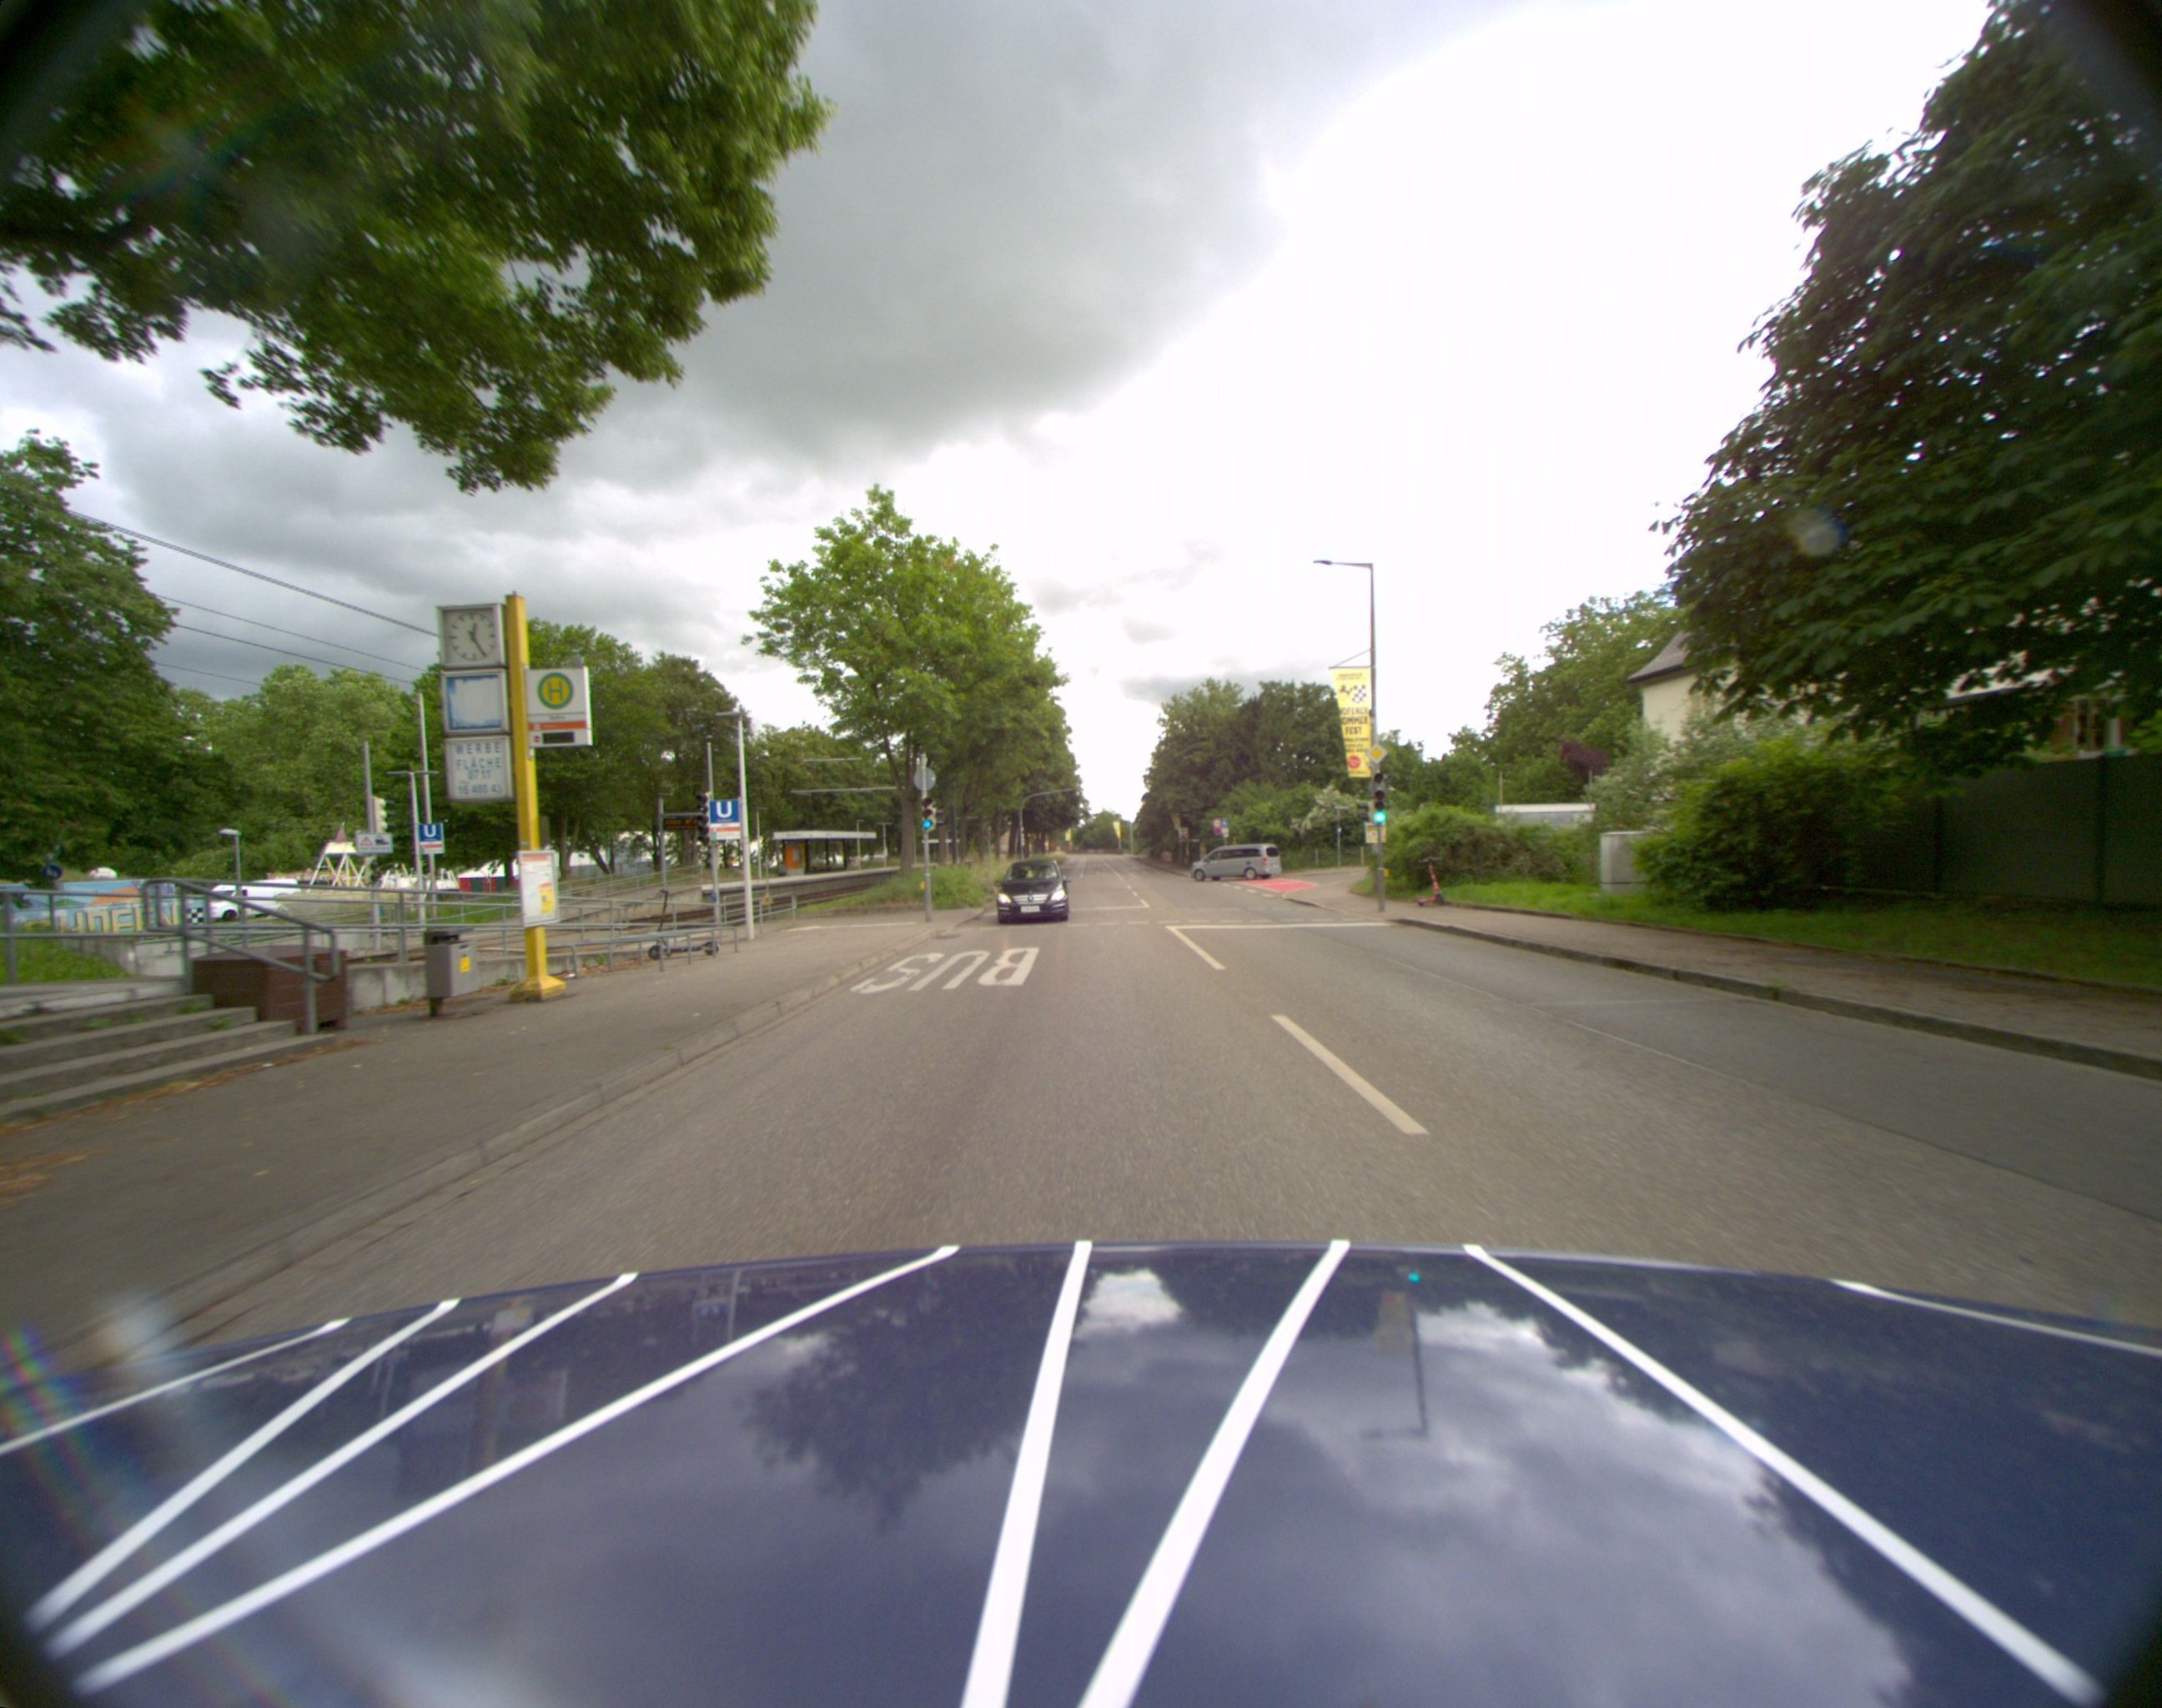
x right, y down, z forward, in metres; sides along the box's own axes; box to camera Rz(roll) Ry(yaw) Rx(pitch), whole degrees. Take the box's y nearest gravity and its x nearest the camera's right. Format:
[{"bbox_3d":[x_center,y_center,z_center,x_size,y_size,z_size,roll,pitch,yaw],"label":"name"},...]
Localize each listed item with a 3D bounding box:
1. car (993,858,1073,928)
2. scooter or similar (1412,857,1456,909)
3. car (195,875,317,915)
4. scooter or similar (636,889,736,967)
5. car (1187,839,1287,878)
[{"bbox_3d":[-1.173,0.946,20.269,1.751,1.556,4.074,-1,1,1],"label":"car"},{"bbox_3d":[9.041,0.709,19.514,0.463,1.252,1.426,-2,1,2],"label":"scooter or similar"},{"bbox_3d":[-57.493,2.819,53.147,1.998,2.369,5.807,-3,0,1],"label":"car"},{"bbox_3d":[-6.976,1.289,13.480,1.459,1.235,0.484,-3,1,-20],"label":"scooter or similar"},{"bbox_3d":[8.691,0.262,42.734,5.141,1.916,1.956,-3,1,42],"label":"car"}]
